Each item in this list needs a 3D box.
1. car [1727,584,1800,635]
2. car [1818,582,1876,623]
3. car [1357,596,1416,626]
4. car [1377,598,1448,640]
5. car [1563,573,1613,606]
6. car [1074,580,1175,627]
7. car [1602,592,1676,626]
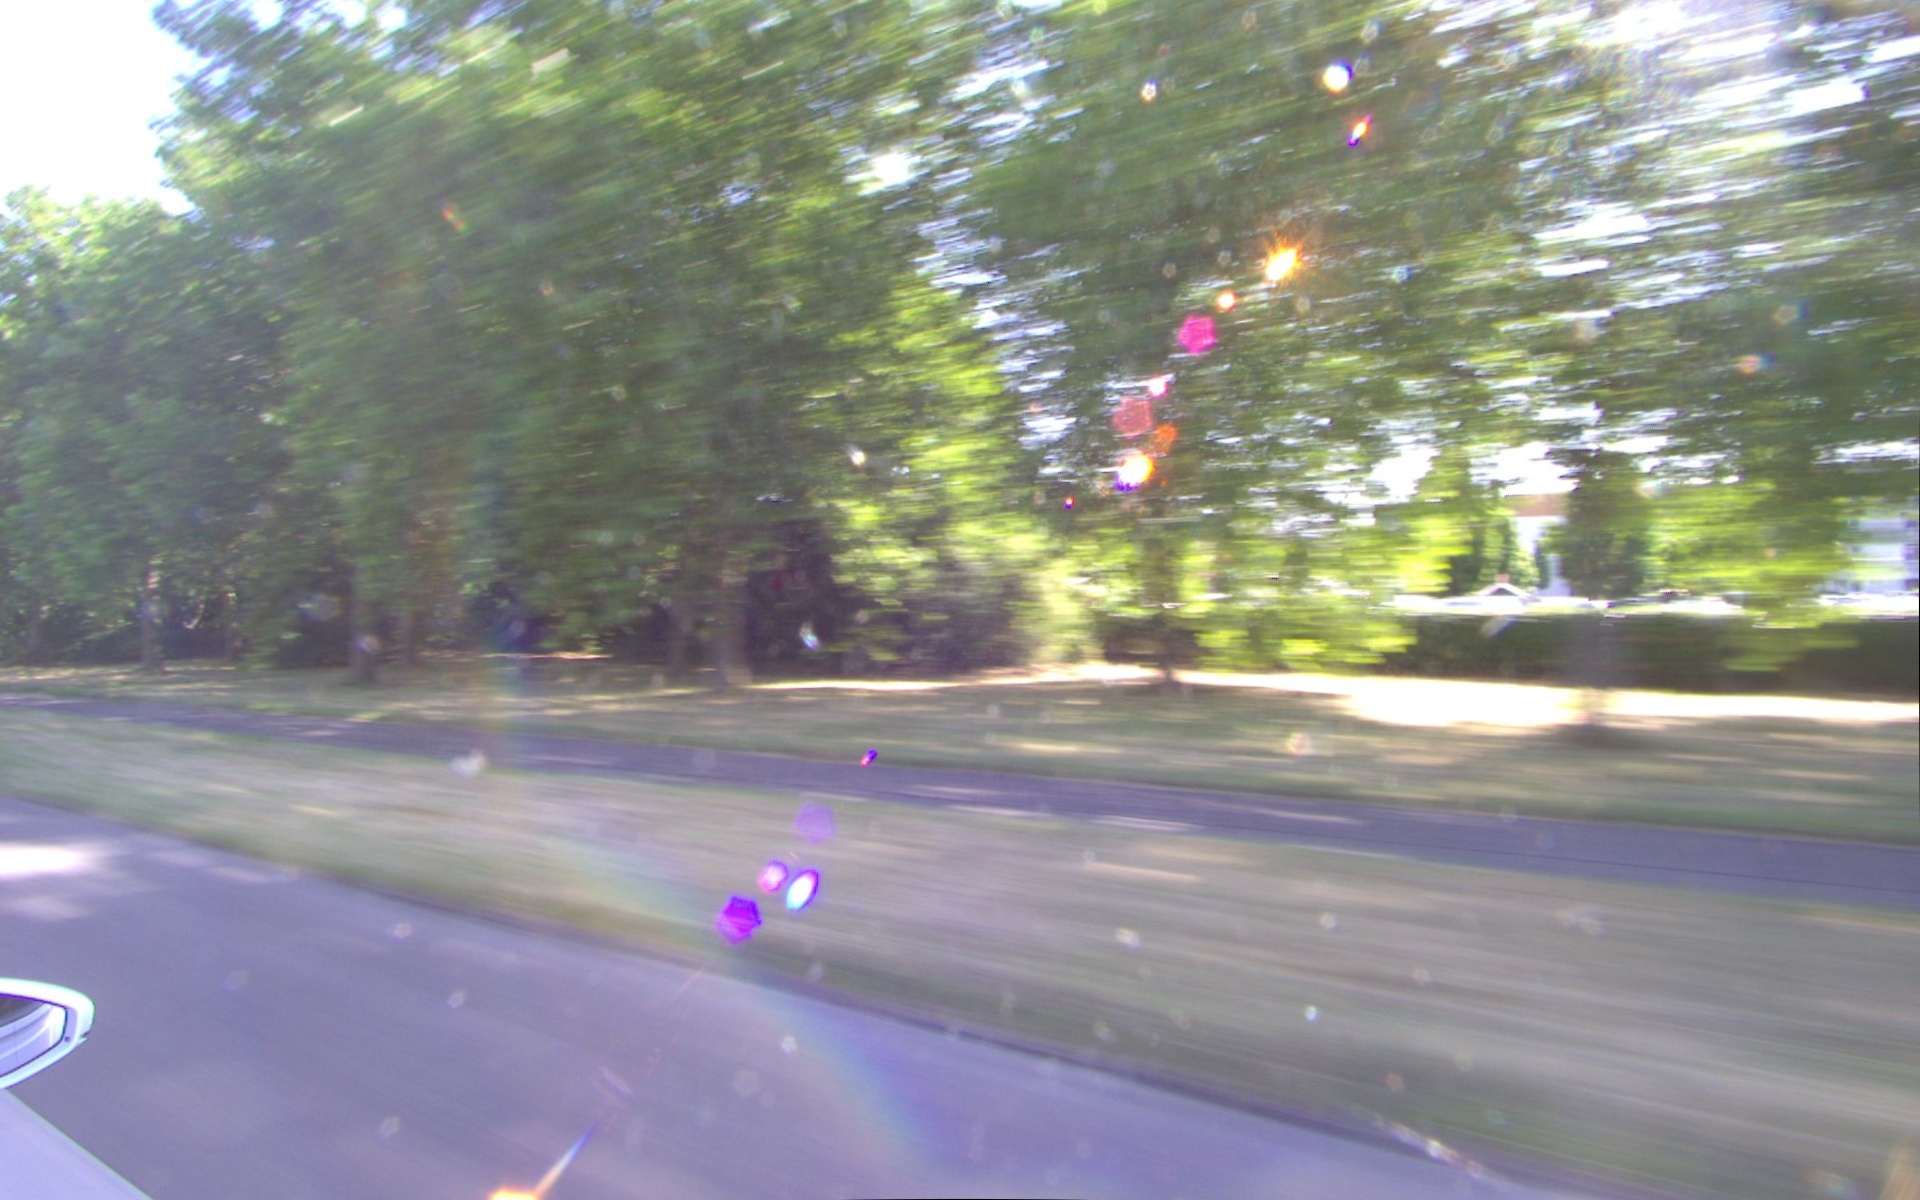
[{"bbox_3d":[29.379,0.336,36.618,1.976,1.751,3.969,-1,0,39],"label":"car"},{"bbox_3d":[44.148,0.120,49.901,1.976,1.951,3.969,-1,0,39],"label":"car"},{"bbox_3d":[26.552,0.694,62.258,1.966,1.773,4.468,-1,0,43],"label":"car"},{"bbox_3d":[20.027,0.804,44.214,1.962,1.773,4.477,-1,0,36],"label":"car"},{"bbox_3d":[36.956,-0.602,58.897,1.976,1.884,3.969,-1,0,39],"label":"car"},{"bbox_3d":[6.409,0.175,38.821,1.979,1.705,3.964,-2,-2,44],"label":"car"},{"bbox_3d":[36.891,0.469,54.376,4.451,1.773,1.974,-1,0,-36],"label":"car"}]
